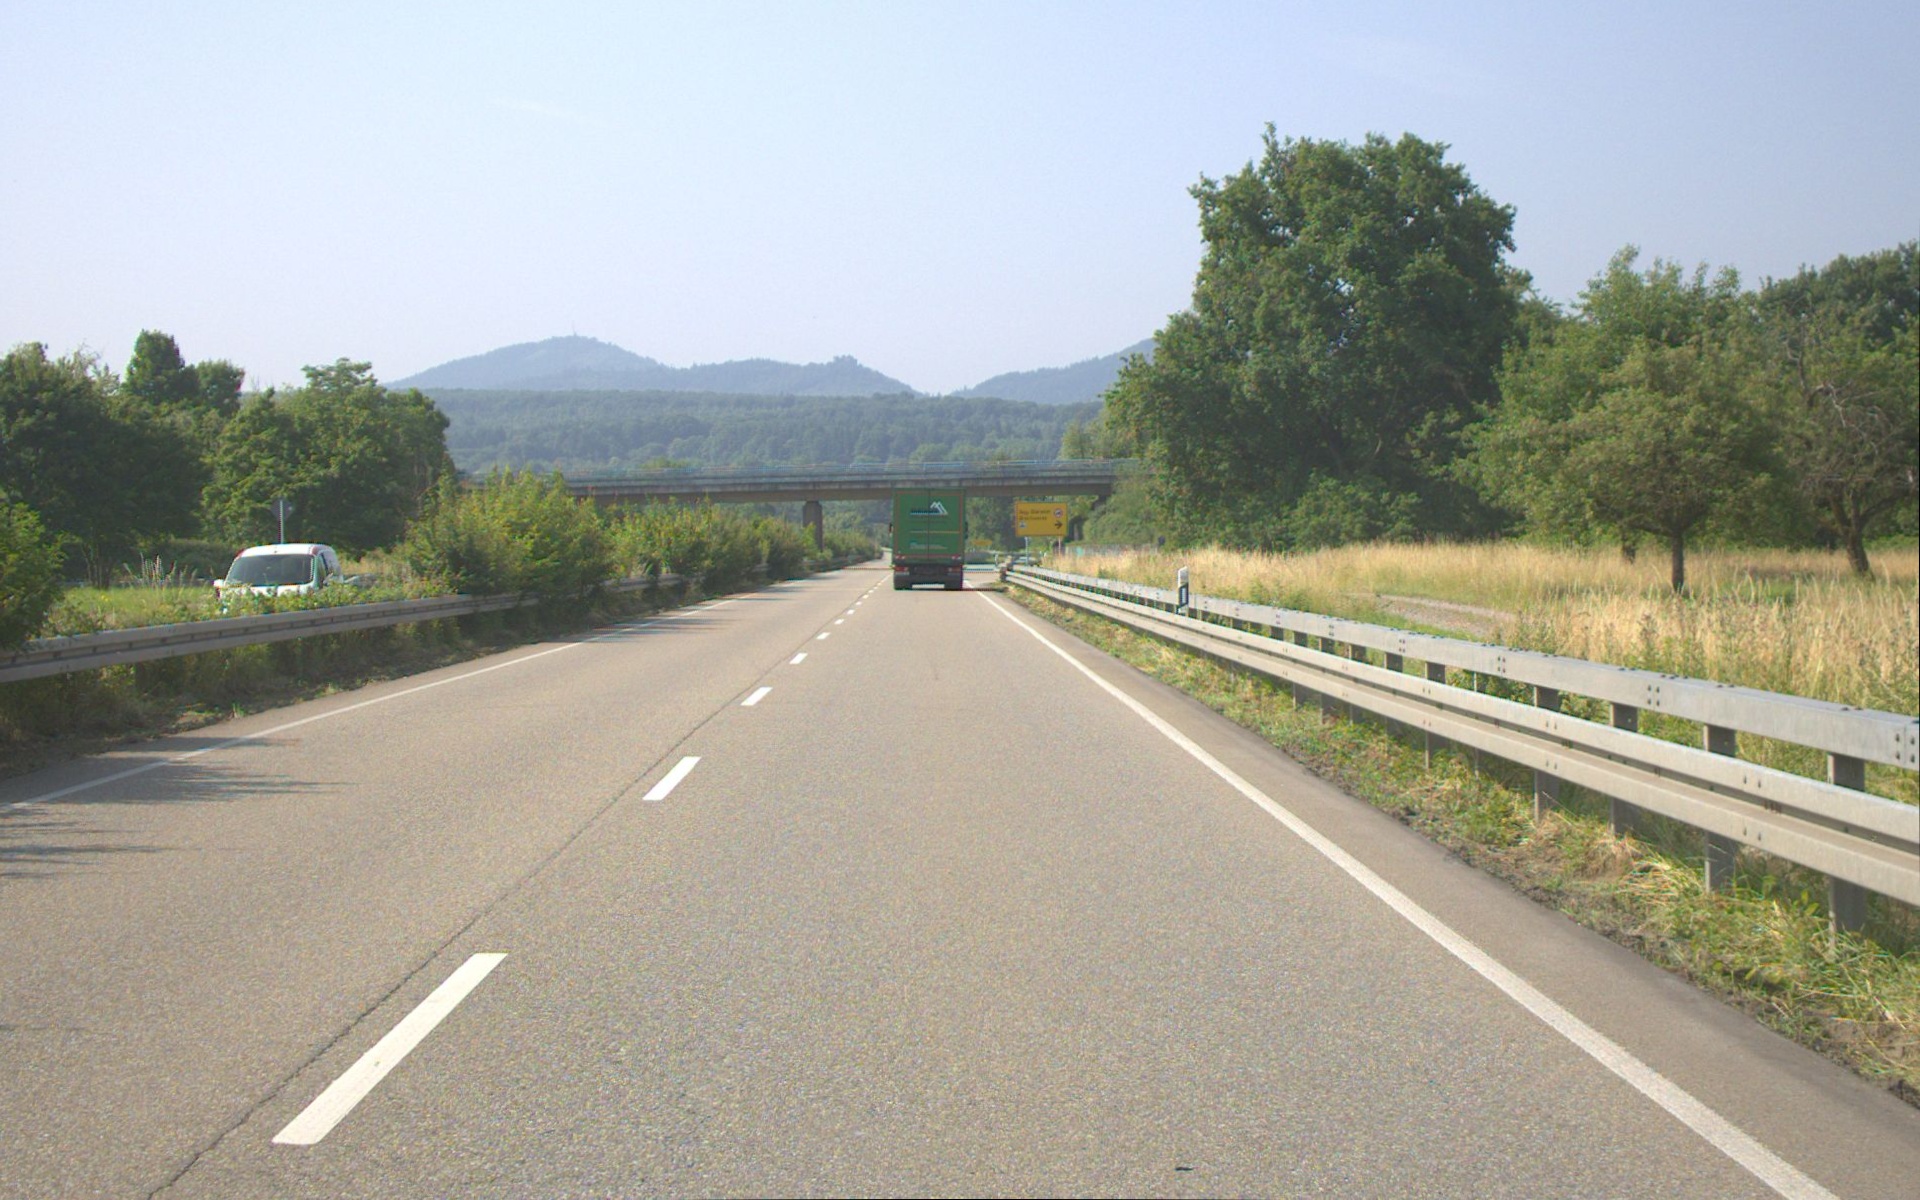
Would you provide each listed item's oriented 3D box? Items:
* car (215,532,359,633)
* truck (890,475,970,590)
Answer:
[{"bbox_3d":[-11.318,-0.321,58.034,1.660,1.636,4.000,0,1,0],"label":"car"},{"bbox_3d":[-1.063,-2.542,124.926,2.722,3.951,10.417,1,2,0],"label":"truck"}]
